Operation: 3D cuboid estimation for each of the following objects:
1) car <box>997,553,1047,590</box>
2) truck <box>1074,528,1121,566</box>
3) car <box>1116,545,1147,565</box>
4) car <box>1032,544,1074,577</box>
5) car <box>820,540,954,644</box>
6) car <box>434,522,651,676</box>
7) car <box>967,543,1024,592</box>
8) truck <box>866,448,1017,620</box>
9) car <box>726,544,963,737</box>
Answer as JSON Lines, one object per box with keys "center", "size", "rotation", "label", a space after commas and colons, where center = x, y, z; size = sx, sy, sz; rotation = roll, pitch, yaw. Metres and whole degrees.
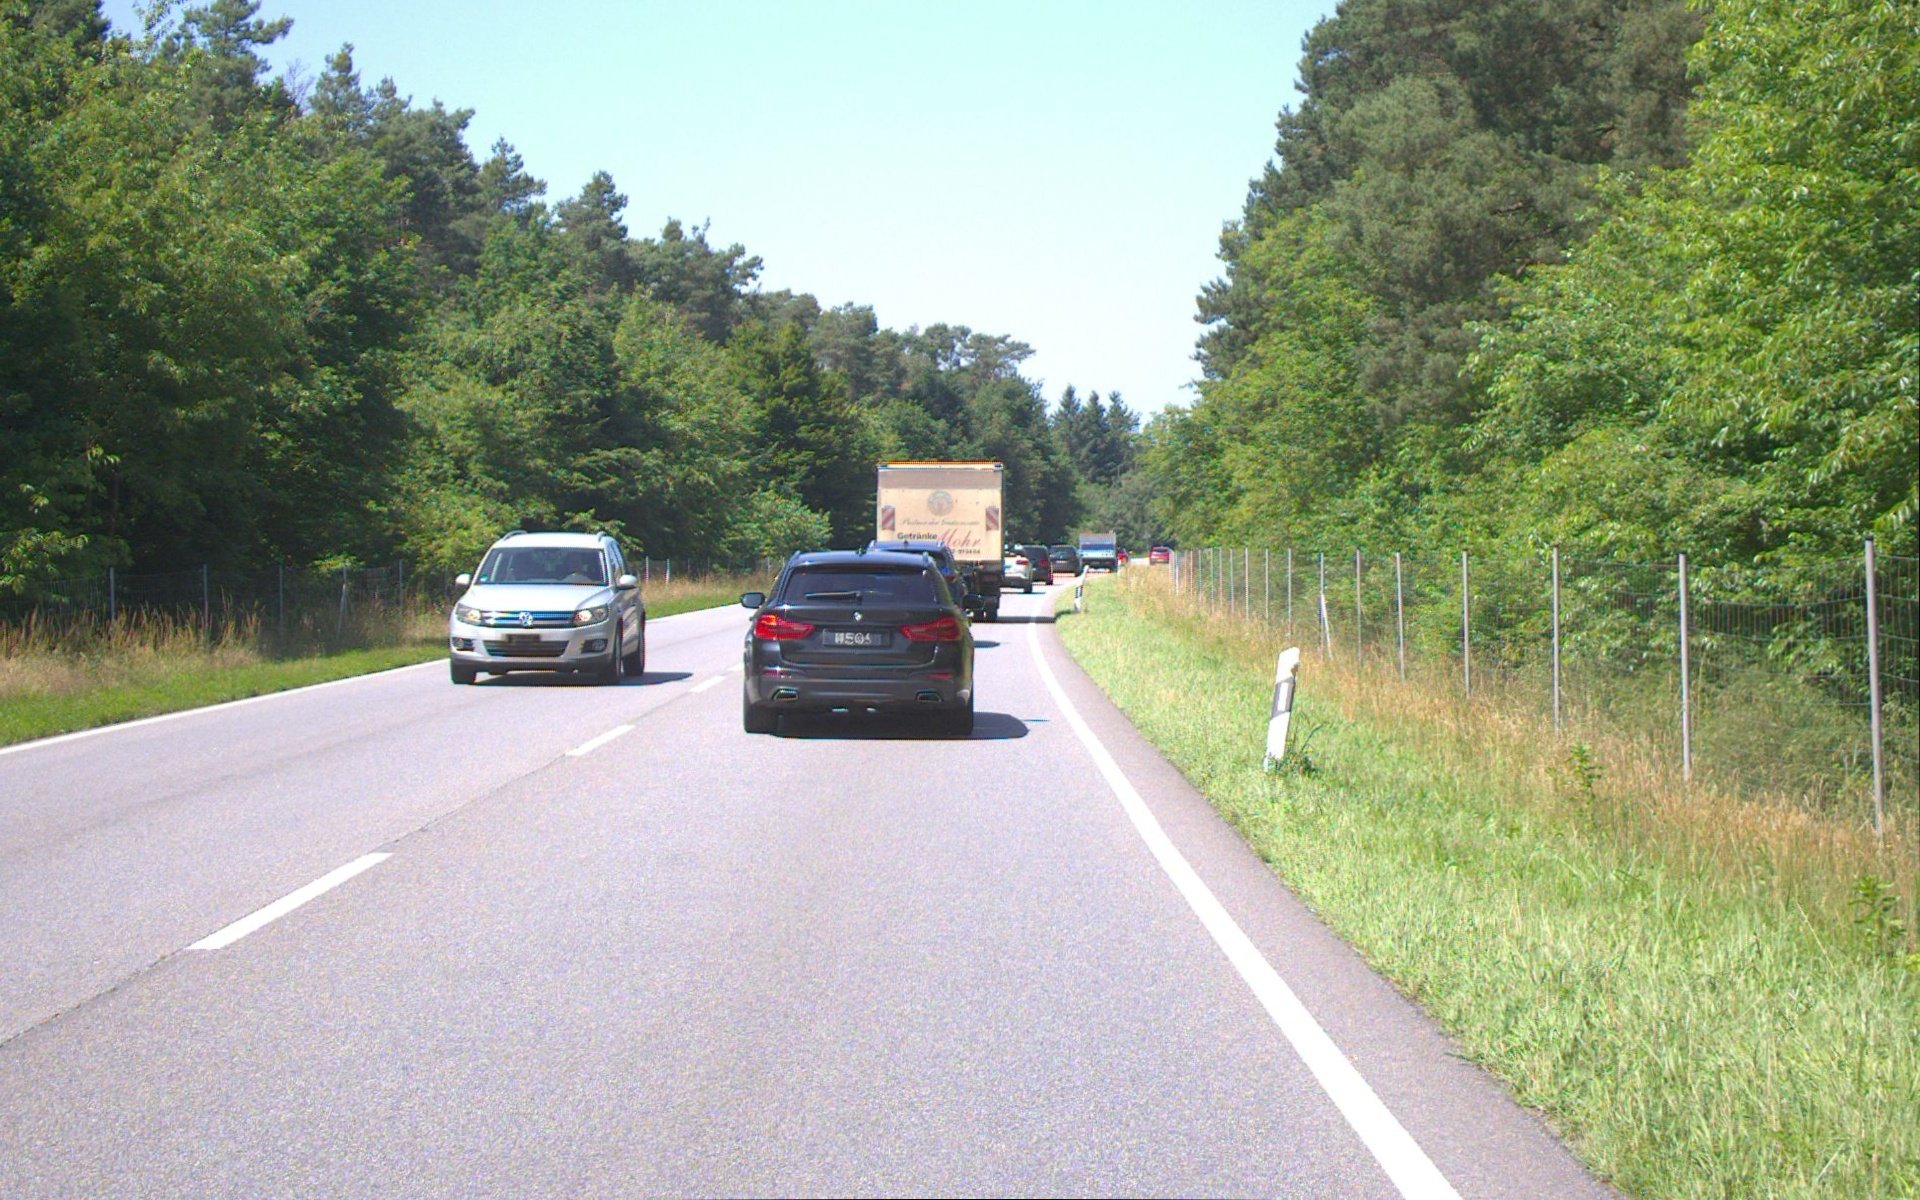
{"center": [2.513, -1.185, 141.142], "size": [1.993, 1.415, 4.000], "rotation": [-1, 1, 1], "label": "car"}
{"center": [8.153, -3.147, 203.276], "size": [2.564, 2.194, 4.973], "rotation": [-1, 1, 4], "label": "truck"}
{"center": [11.649, -3.053, 233.097], "size": [1.795, 1.349, 3.927], "rotation": [0, 1, 8], "label": "car"}
{"center": [4.809, -2.059, 177.419], "size": [1.994, 1.631, 4.000], "rotation": [-1, 1, 4], "label": "car"}
{"center": [-1.098, -0.153, 53.587], "size": [1.947, 1.536, 4.000], "rotation": [-1, 1, 1], "label": "car"}
{"center": [-4.594, -0.054, 38.365], "size": [1.863, 1.623, 4.093], "rotation": [0, 1, 1], "label": "car"}
{"center": [1.201, -1.107, 115.996], "size": [1.863, 1.600, 4.000], "rotation": [0, 1, 1], "label": "car"}
{"center": [-0.416, -1.376, 72.074], "size": [2.965, 3.376, 6.438], "rotation": [-1, 1, -1], "label": "truck"}
{"center": [-0.933, 0.281, 28.499], "size": [1.820, 1.465, 4.000], "rotation": [0, 1, -1], "label": "car"}
